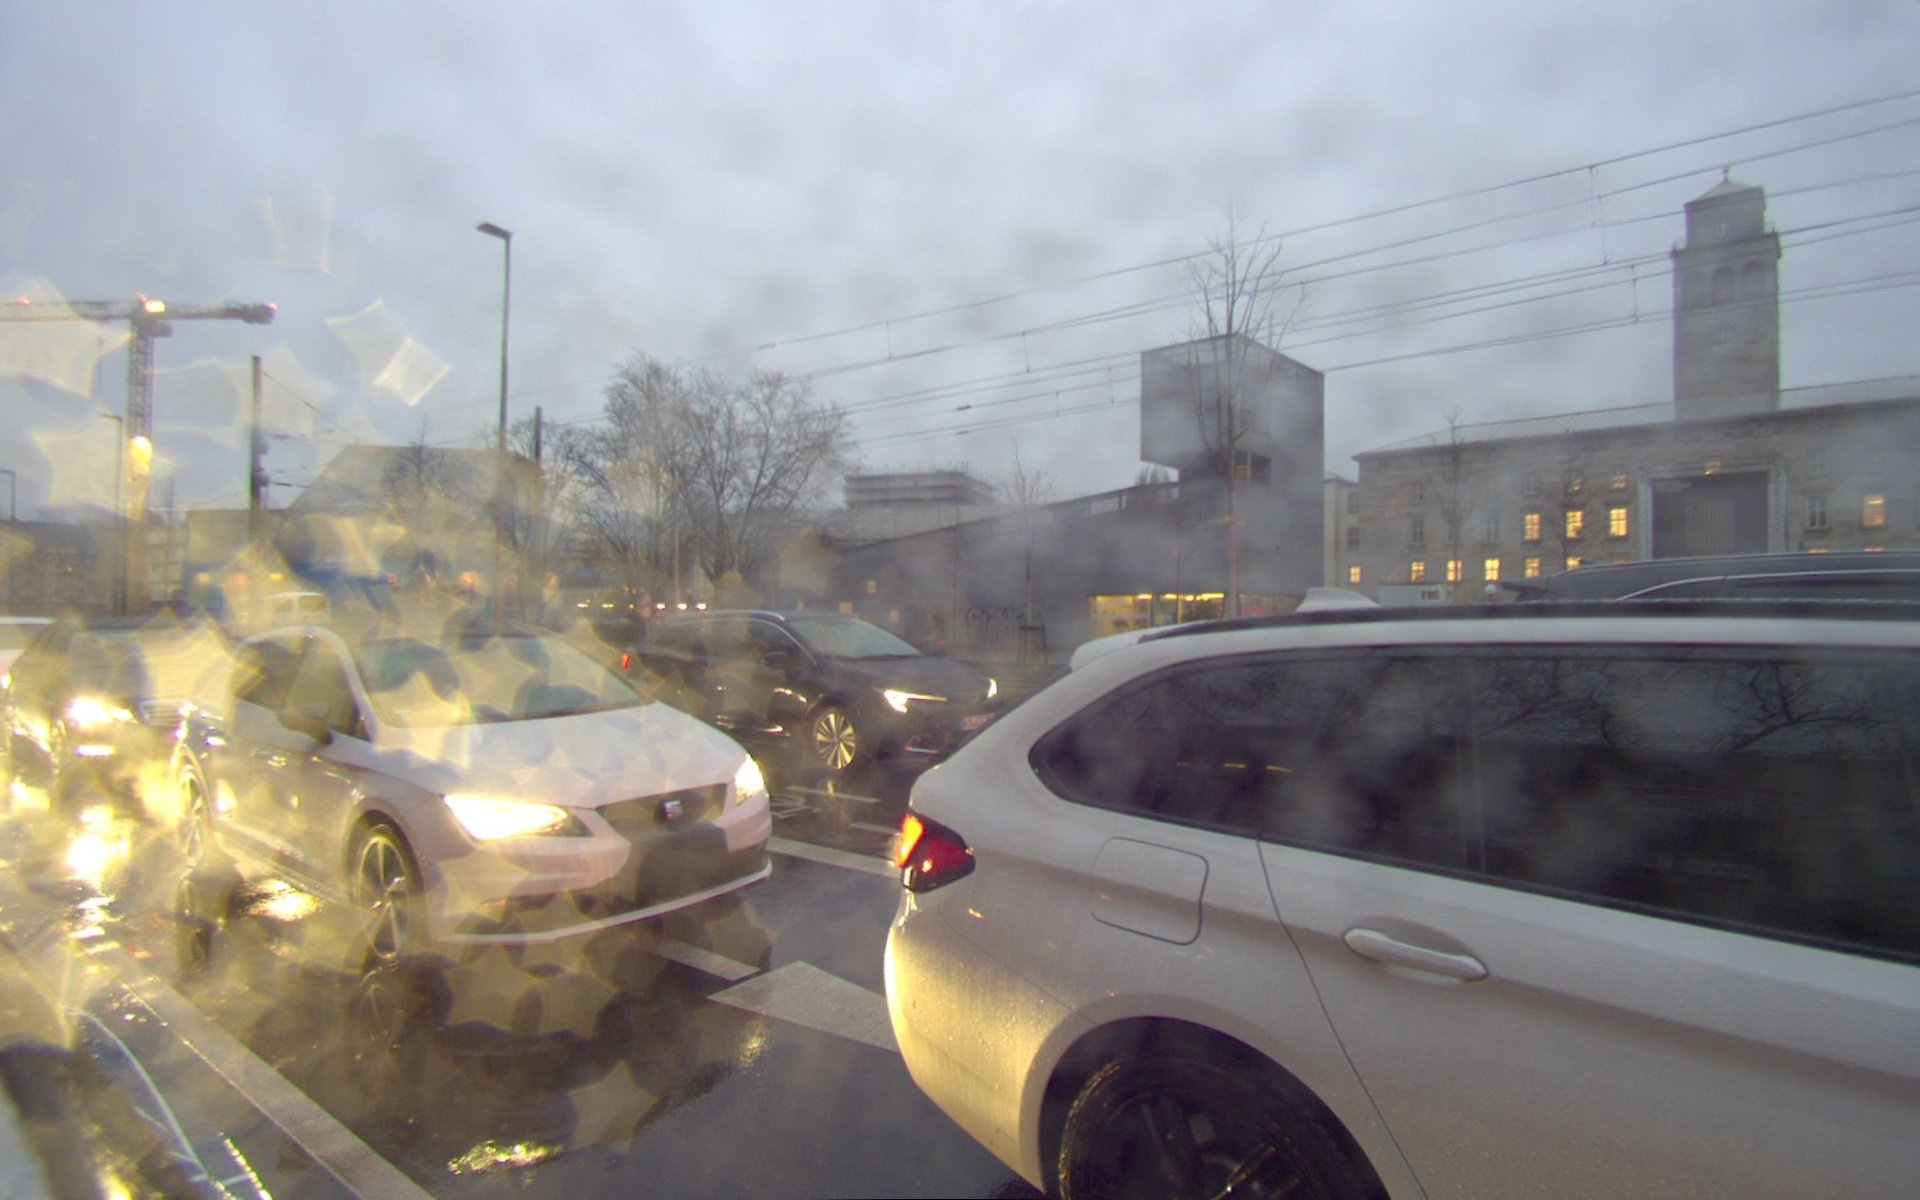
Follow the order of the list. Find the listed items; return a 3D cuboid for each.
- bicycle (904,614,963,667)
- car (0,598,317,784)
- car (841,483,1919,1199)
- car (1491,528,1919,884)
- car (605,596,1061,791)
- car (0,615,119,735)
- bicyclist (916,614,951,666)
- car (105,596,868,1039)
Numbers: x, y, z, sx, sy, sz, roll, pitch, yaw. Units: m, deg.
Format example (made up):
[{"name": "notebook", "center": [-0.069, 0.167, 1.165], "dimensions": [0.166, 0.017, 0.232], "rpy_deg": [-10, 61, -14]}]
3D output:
[{"name": "bicycle", "center": [-0.933, 1.374, 35.282], "dimensions": [2.061, 1.746, 0.754], "rpy_deg": [1, 1, 39]}, {"name": "car", "center": [-8.536, 0.785, 10.375], "dimensions": [4.501, 1.498, 1.974], "rpy_deg": [-1, -2, 39]}, {"name": "car", "center": [2.091, 0.626, 1.653], "dimensions": [4.557, 1.498, 1.996], "rpy_deg": [-1, -2, 41]}, {"name": "car", "center": [5.231, 0.481, 5.001], "dimensions": [4.289, 1.596, 1.946], "rpy_deg": [-1, -1, 42]}, {"name": "car", "center": [-1.434, 0.751, 10.078], "dimensions": [4.659, 1.519, 1.830], "rpy_deg": [0, -1, 39]}, {"name": "car", "center": [-14.246, 1.037, 15.193], "dimensions": [3.998, 1.586, 1.882], "rpy_deg": [-1, 0, 41]}, {"name": "bicyclist", "center": [-0.932, 1.367, 35.271], "dimensions": [0.960, 1.746, 0.754], "rpy_deg": [1, 1, 38]}, {"name": "car", "center": [-2.829, 0.771, 5.583], "dimensions": [4.497, 1.498, 1.926], "rpy_deg": [-1, 0, 37]}]
